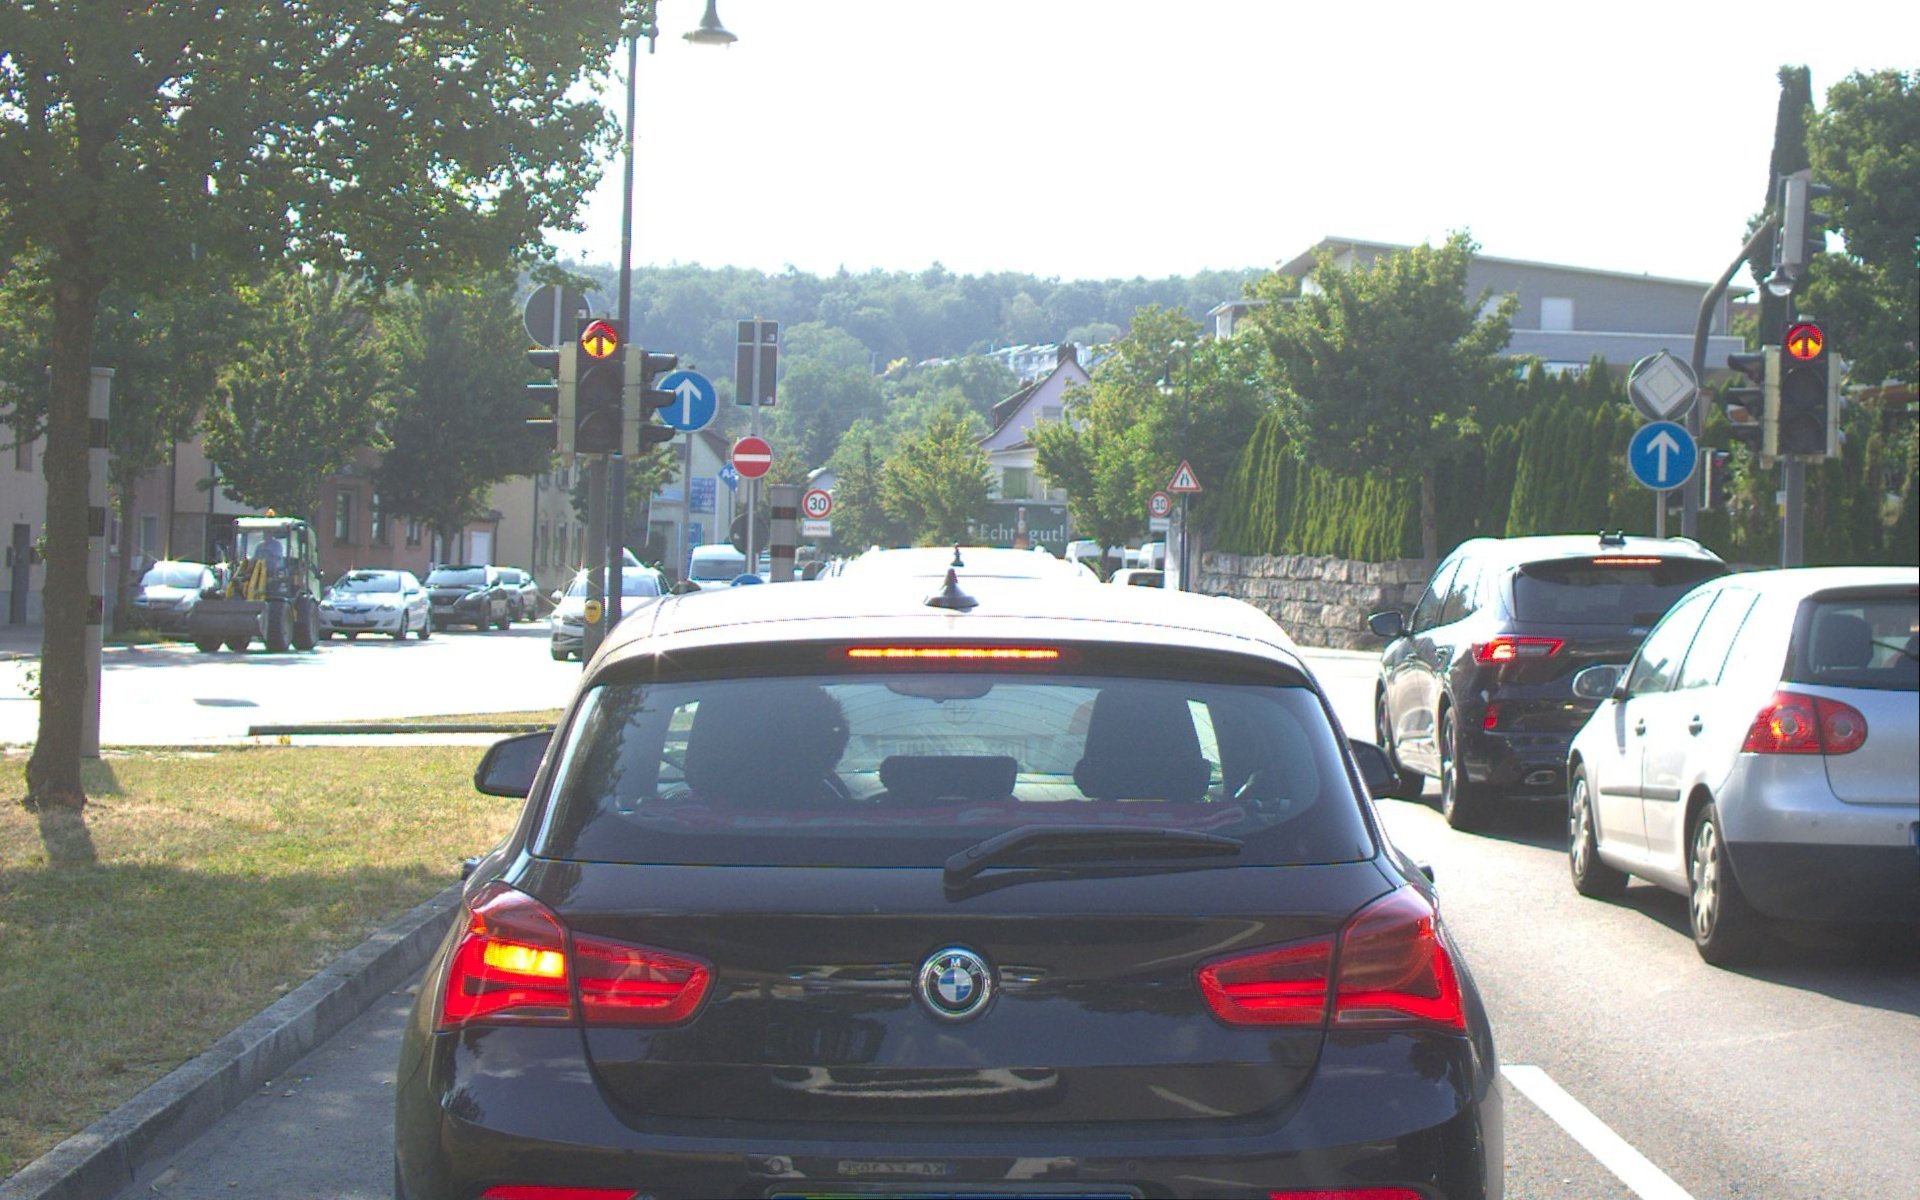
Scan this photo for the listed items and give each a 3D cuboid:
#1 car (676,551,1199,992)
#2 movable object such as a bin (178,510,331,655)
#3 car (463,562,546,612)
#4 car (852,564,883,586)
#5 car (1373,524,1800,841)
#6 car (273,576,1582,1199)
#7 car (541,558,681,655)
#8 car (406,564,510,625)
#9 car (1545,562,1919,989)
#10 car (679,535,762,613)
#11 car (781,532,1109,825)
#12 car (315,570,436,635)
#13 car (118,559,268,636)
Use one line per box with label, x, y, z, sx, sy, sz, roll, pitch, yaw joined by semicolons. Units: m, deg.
car;-0.074;0.561;14.010;1.788;1.488;4.281;-1;1;0
movable object such as a bin;-12.304;-0.318;60.180;1.736;2.433;4.450;0;1;0
car;-13.597;-0.410;102.869;1.737;1.296;3.799;5;1;2
car;-6.145;-1.657;228.335;1.737;1.296;3.799;5;1;2
car;3.529;0.401;20.029;1.761;1.650;3.903;-1;1;0
car;-0.038;0.682;6.864;1.788;1.393;4.281;-1;1;0
car;-5.593;0.074;55.519;1.839;1.477;4.000;1;1;0
car;-12.223;-0.161;83.890;1.737;1.296;3.799;5;1;2
car;3.555;0.580;13.747;1.761;1.421;3.903;-1;1;0
car;-7.673;-0.835;110.526;2.084;2.385;5.528;1;1;1
car;-0.080;0.396;21.049;1.788;1.588;4.281;-1;1;0
car;-12.176;0.039;71.764;1.737;1.297;3.799;0;1;2
car;-14.936;-0.066;67.158;1.737;1.296;4.000;5;1;3
